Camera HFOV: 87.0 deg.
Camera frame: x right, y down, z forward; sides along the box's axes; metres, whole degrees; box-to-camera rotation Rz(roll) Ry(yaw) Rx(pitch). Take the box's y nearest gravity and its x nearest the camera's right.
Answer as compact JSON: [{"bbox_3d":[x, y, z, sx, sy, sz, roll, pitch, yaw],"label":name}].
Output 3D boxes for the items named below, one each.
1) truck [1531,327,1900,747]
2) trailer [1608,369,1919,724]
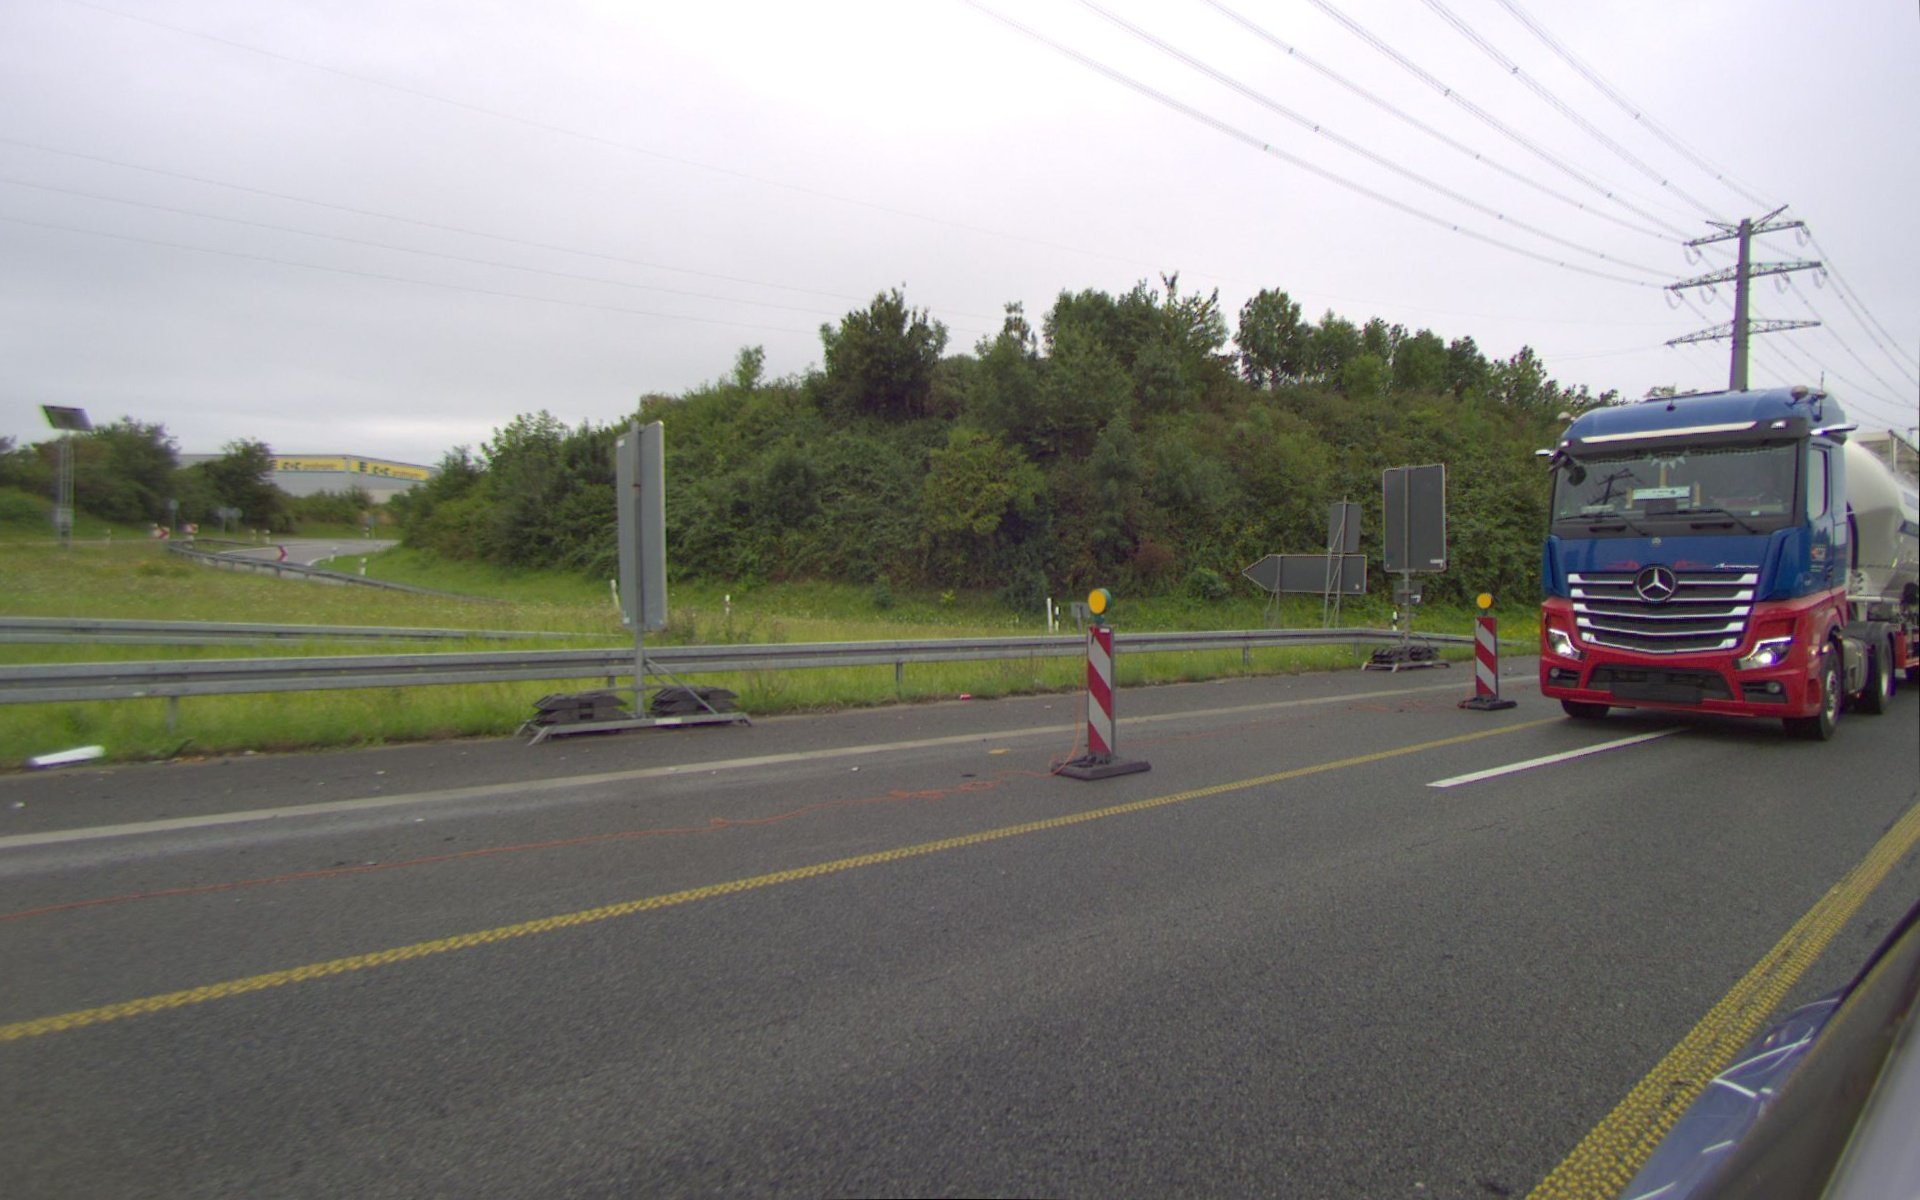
[{"bbox_3d":[8.889,-0.635,11.852,3.928,3.996,2.553,-1,0,-39],"label":"truck"},{"bbox_3d":[13.836,-0.685,15.940,12.131,3.882,2.525,-1,1,-40],"label":"trailer"}]
